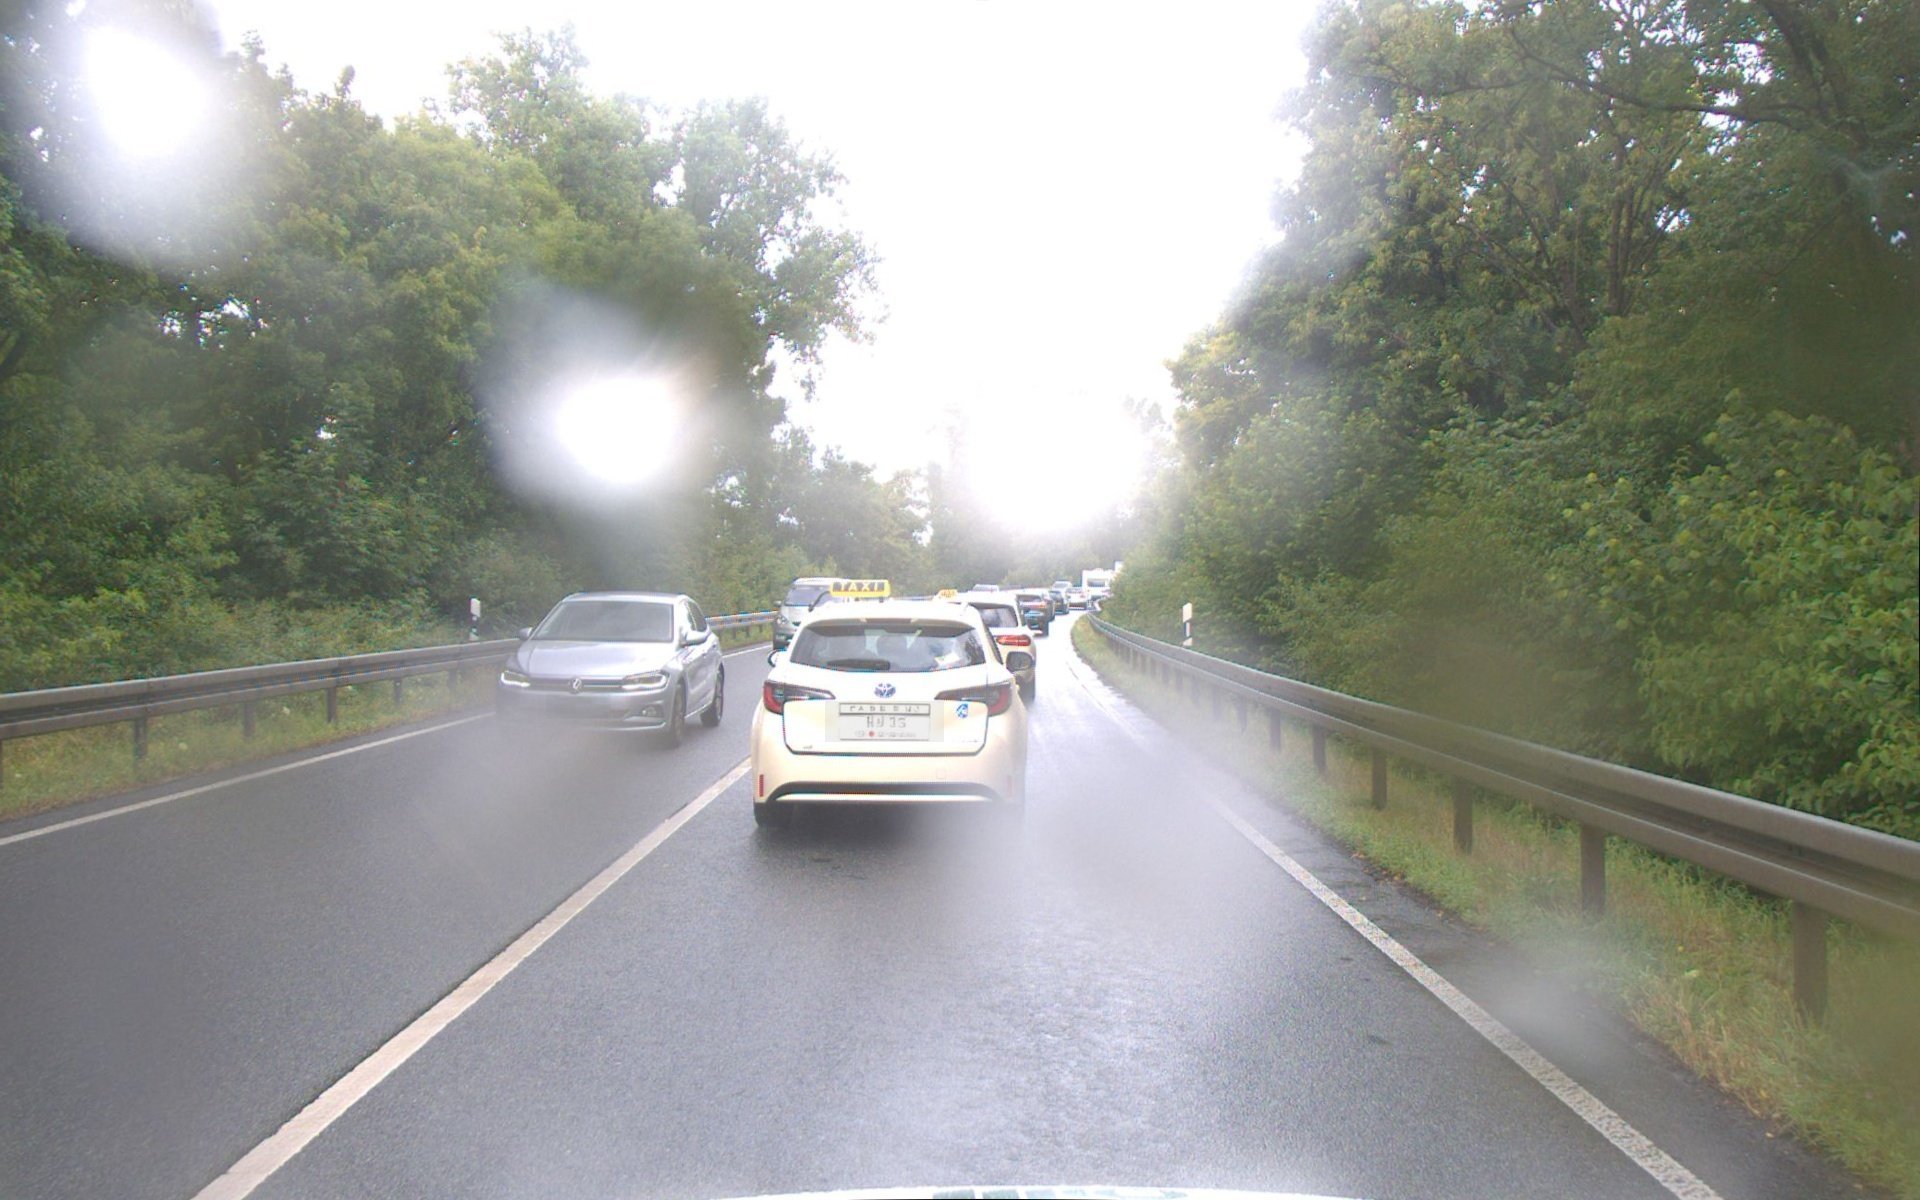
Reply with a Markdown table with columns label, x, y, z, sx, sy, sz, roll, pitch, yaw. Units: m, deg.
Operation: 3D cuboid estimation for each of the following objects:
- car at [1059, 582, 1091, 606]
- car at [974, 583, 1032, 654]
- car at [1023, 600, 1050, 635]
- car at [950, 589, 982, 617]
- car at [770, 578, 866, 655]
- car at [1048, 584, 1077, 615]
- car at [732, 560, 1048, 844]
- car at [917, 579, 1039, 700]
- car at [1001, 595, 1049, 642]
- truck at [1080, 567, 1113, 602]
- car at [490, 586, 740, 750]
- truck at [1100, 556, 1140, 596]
| label | x | y | z | sx | sy | sz | roll | pitch | yaw |
| --- | --- | --- | --- | --- | --- | --- | --- | --- | --- |
| car | 7.768 | -0.392 | 111.697 | 1.732 | 1.574 | 3.817 | 1 | 0 | 11 |
| car | 0.986 | 0.432 | 39.196 | 1.274 | 1.574 | 3.260 | 1 | 0 | 0 |
| car | 3.574 | 0.818 | 76.920 | 1.142 | 1.574 | 2.605 | 1 | -1 | 5 |
| car | 0.373 | 0.180 | 94.298 | 1.769 | 1.559 | 4.207 | 0 | 0 | 1 |
| car | -3.356 | 0.385 | 39.902 | 1.777 | 1.715 | 4.623 | 1 | 0 | 1 |
| car | 5.750 | -0.017 | 92.973 | 1.582 | 1.641 | 3.622 | 1 | 0 | 3 |
| car | -0.380 | 0.604 | 11.598 | 1.796 | 1.608 | 4.156 | 1 | 0 | 0 |
| car | 0.258 | 0.551 | 24.396 | 1.633 | 1.608 | 3.892 | 1 | 0 | 0 |
| car | 2.237 | 0.648 | 56.844 | 1.577 | 1.574 | 3.815 | 0 | -1 | 2 |
| truck | 11.189 | -1.221 | 136.049 | 2.496 | 2.760 | 7.538 | 1 | 0 | 3 |
| car | -3.374 | 0.627 | 16.869 | 1.693 | 1.456 | 3.849 | 1 | 0 | 0 |
| truck | 16.154 | -2.385 | 166.471 | 3.041 | 3.745 | 7.005 | 1 | -1 | 13 |
